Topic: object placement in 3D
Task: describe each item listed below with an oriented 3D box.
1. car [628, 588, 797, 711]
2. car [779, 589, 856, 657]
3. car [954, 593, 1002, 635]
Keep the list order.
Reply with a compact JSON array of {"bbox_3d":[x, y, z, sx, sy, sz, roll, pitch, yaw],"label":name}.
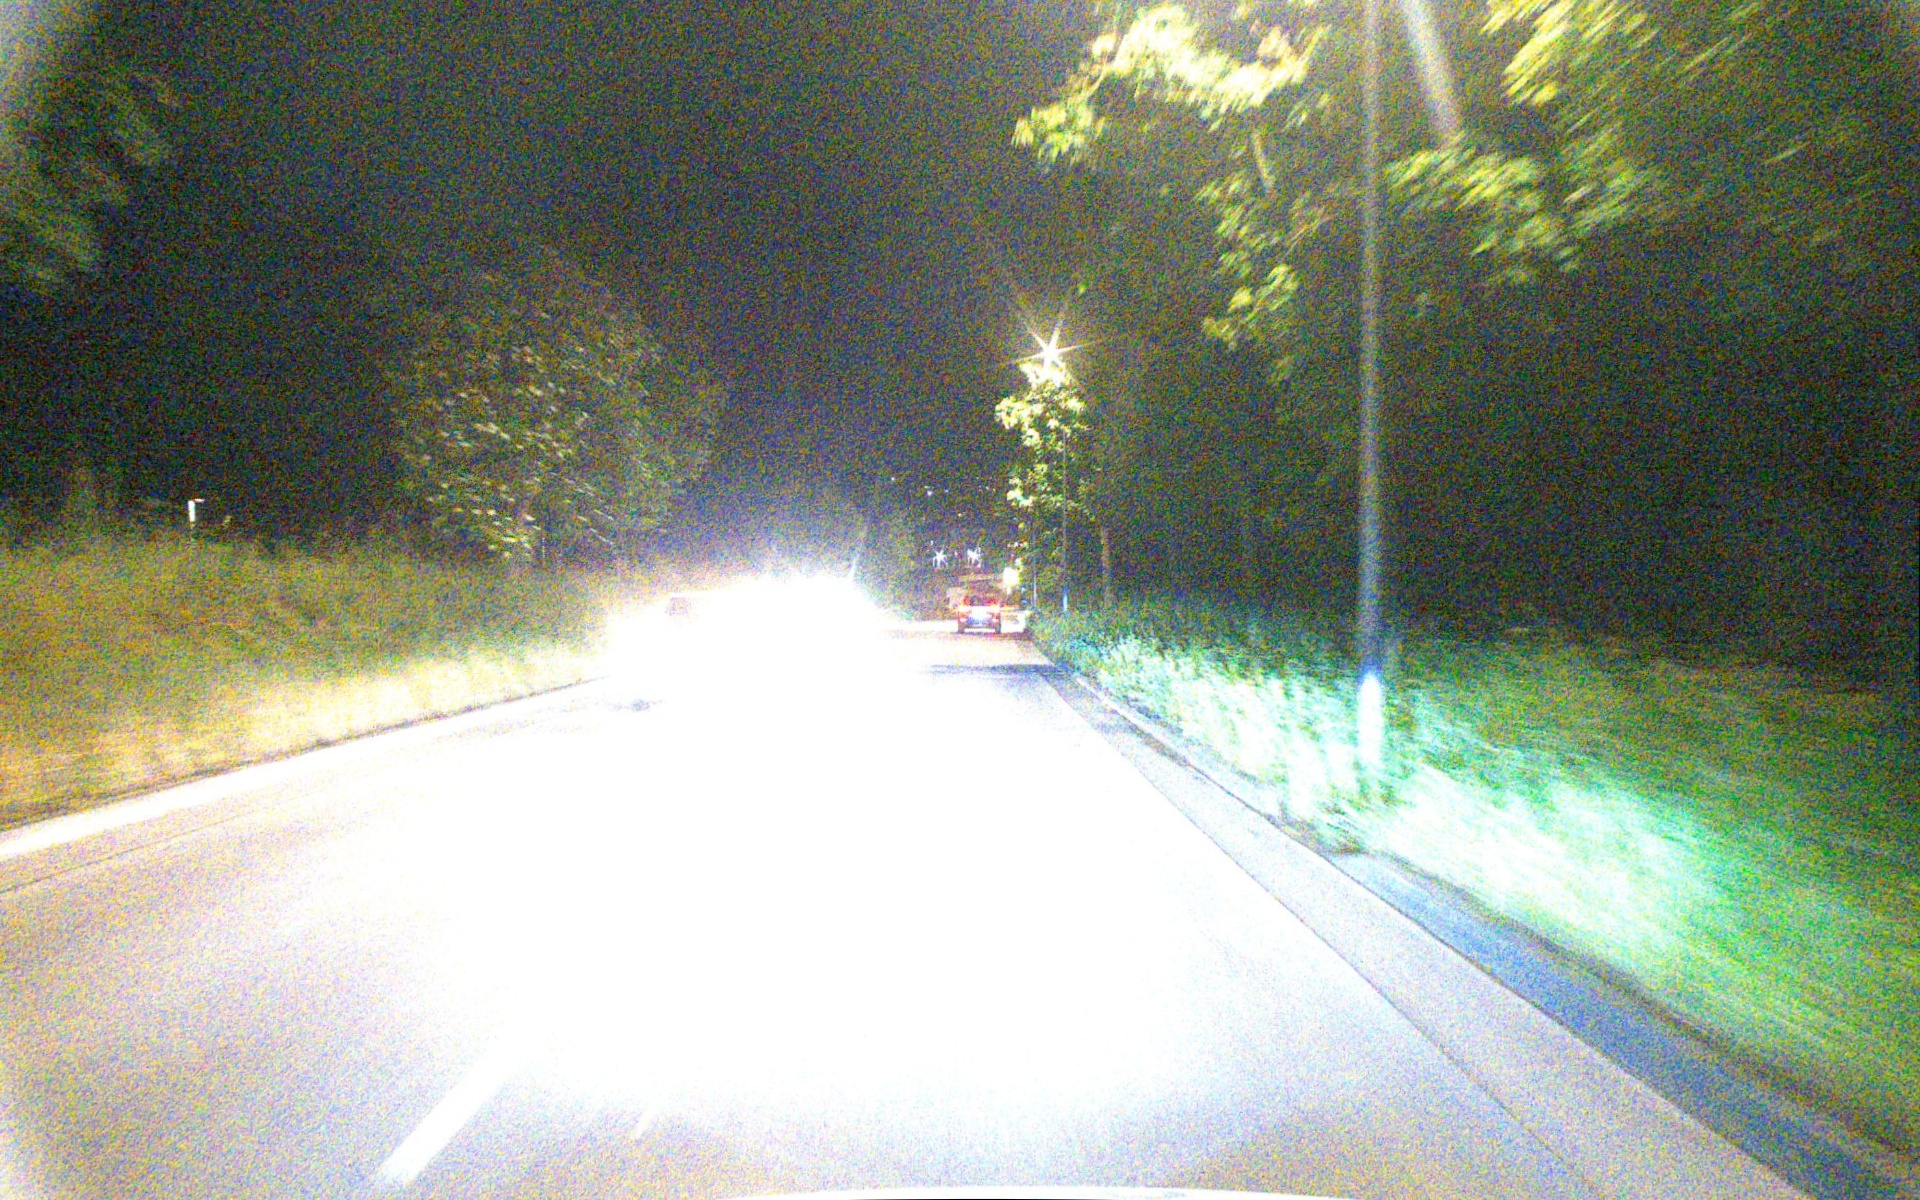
[{"bbox_3d":[-3.219,0.599,22.180,1.653,1.483,4.000,1,0,0],"label":"car"},{"bbox_3d":[-3.335,0.515,39.258,1.614,1.517,3.556,1,0,-2],"label":"car"},{"bbox_3d":[0.703,0.552,68.070,1.728,1.670,3.720,1,0,-3],"label":"car"}]
